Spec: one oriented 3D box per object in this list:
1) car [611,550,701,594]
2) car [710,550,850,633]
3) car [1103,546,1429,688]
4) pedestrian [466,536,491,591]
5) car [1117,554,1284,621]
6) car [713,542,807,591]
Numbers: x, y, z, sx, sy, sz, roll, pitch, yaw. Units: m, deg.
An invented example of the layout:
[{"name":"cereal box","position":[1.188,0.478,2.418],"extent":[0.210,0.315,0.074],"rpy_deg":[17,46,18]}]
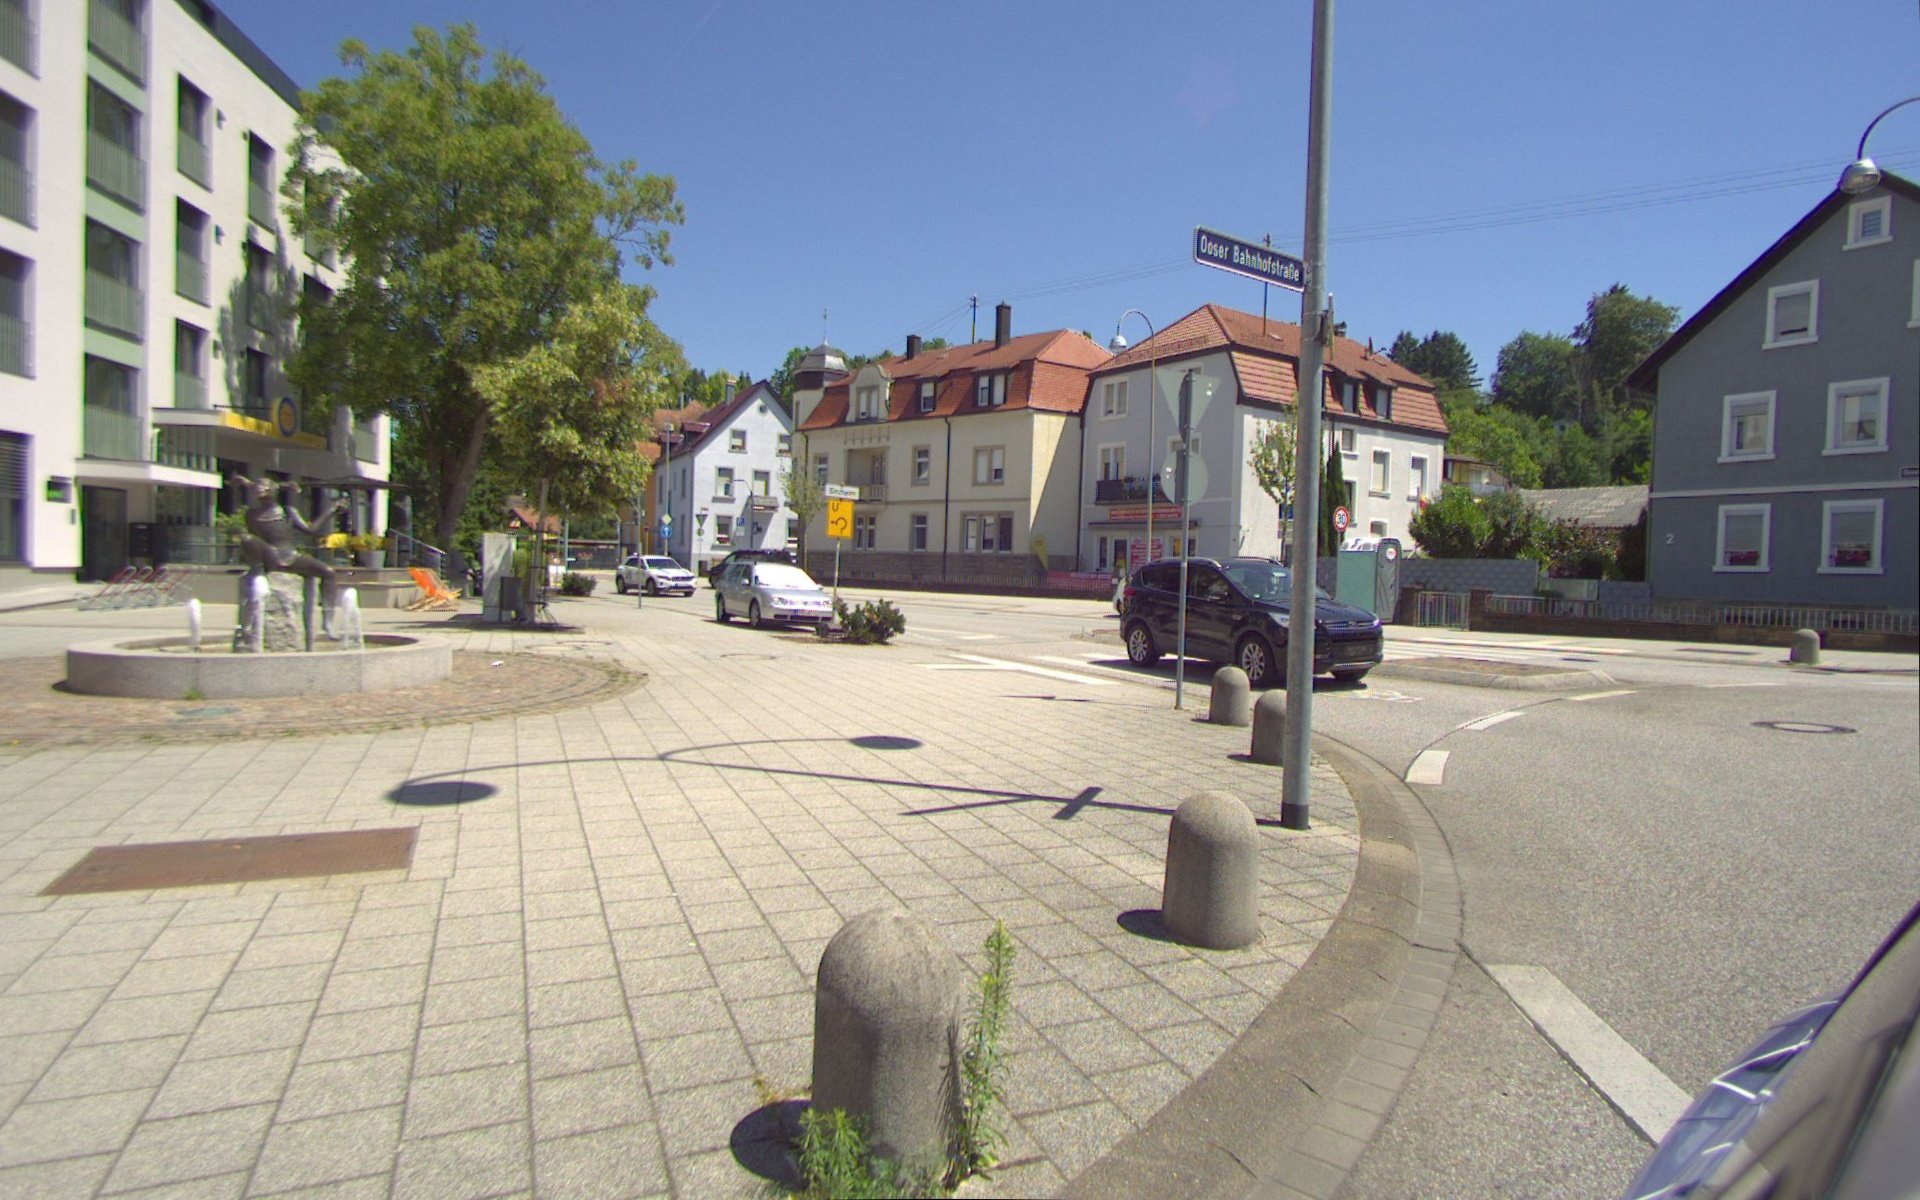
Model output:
[{"name":"car","position":[-12.053,-1.156,40.043],"extent":[1.807,1.593,3.992],"rpy_deg":[-1,4,-43]},{"name":"car","position":[-4.098,-0.242,22.488],"extent":[1.765,1.609,4.006],"rpy_deg":[2,1,-30]},{"name":"car","position":[4.167,0.099,14.646],"extent":[1.959,1.709,4.535],"rpy_deg":[-1,2,-26]},{"name":"pedestrian","position":[-14.999,-1.137,31.525],"extent":[0.649,1.648,0.400],"rpy_deg":[5,3,42]},{"name":"car","position":[6.714,-0.428,28.588],"extent":[1.966,1.603,4.282],"rpy_deg":[-6,6,-40]},{"name":"car","position":[-9.045,-1.527,45.688],"extent":[4.274,1.887,1.969],"rpy_deg":[6,3,43]}]
